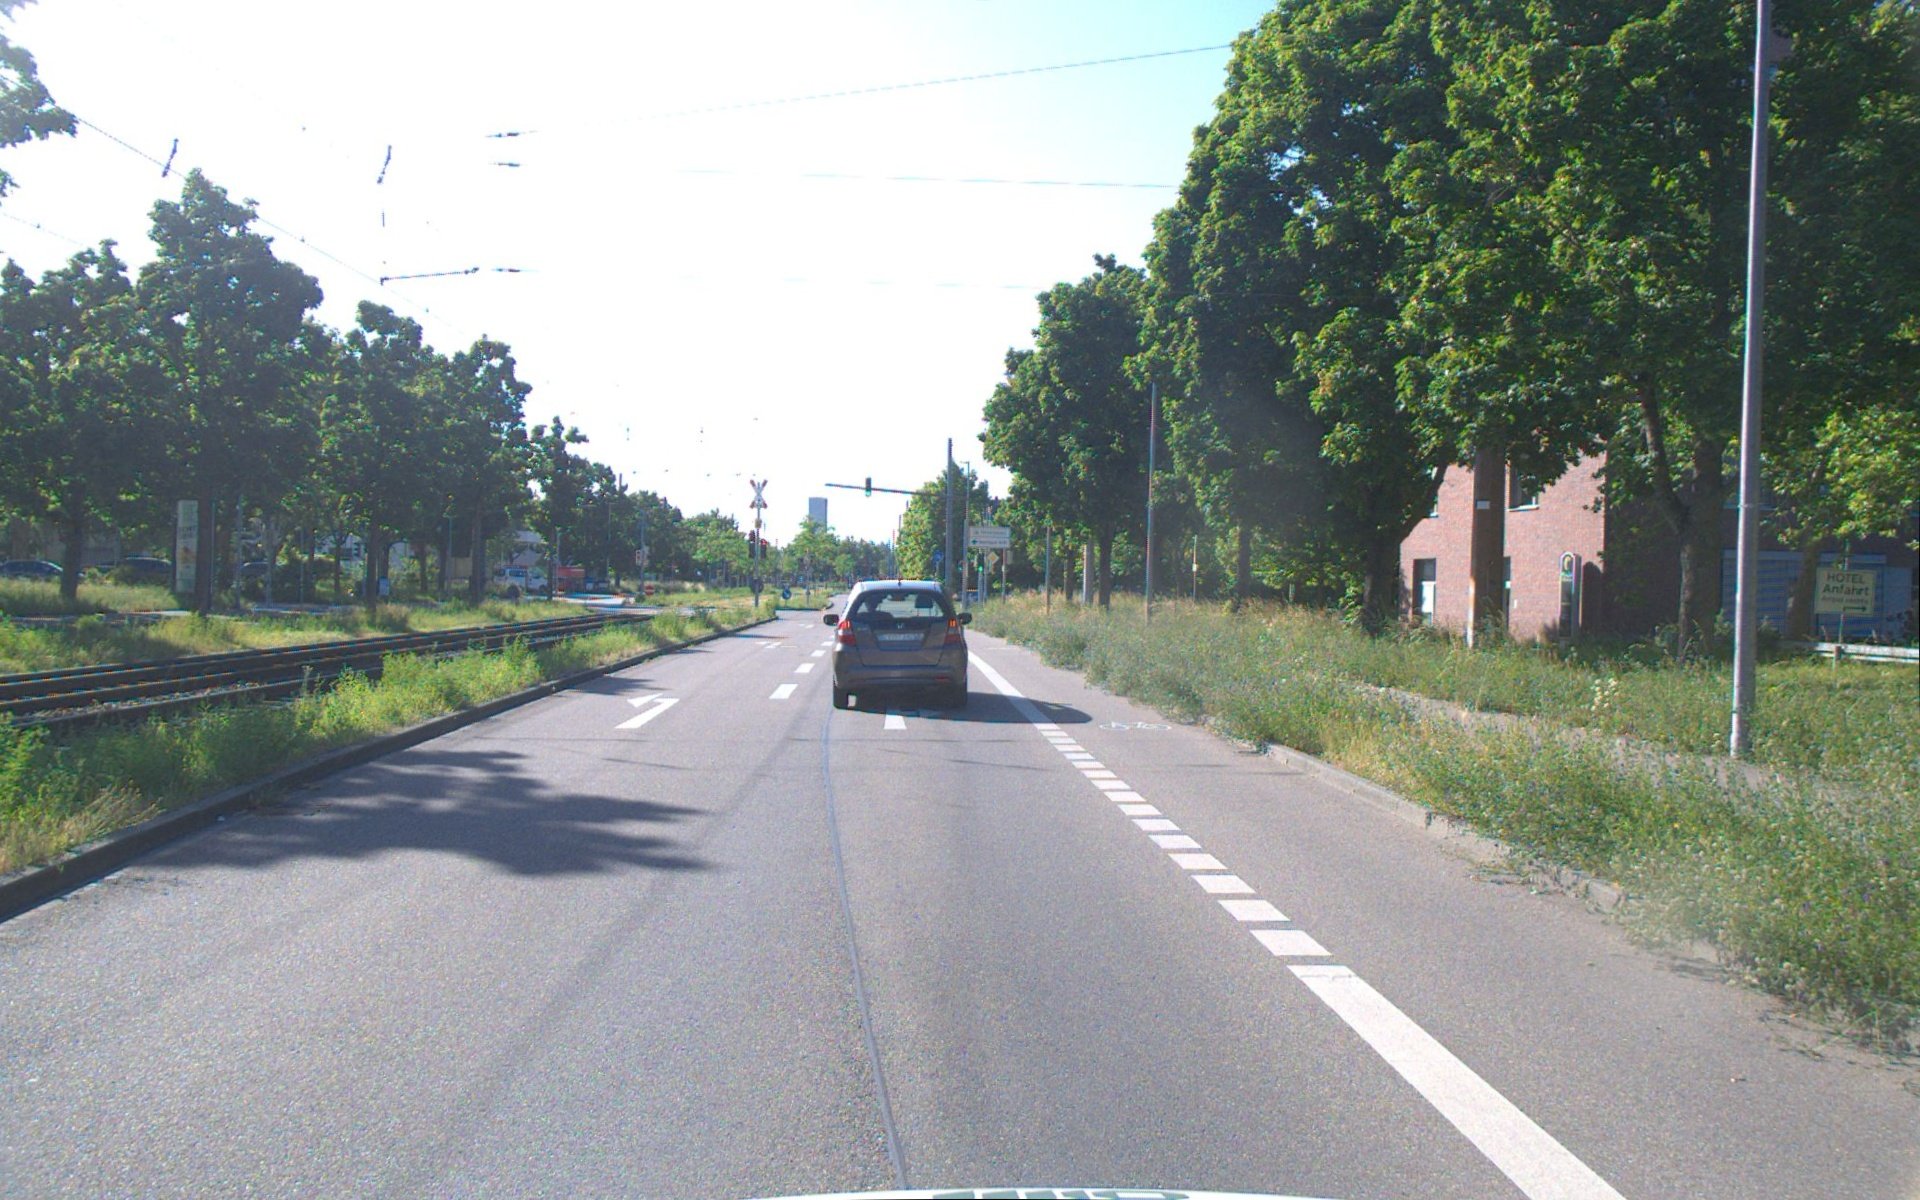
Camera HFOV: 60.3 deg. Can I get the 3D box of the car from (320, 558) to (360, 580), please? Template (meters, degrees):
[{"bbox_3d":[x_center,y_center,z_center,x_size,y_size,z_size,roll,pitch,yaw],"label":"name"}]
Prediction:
[{"bbox_3d":[-47.612,-2.347,127.120,1.545,1.571,4.088,2,0,0],"label":"car"}]

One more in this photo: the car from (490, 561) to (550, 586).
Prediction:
[{"bbox_3d":[-37.254,-2.215,140.138,1.824,2.008,4.767,2,1,36],"label":"car"}]

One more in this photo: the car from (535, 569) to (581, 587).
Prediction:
[{"bbox_3d":[-38.091,-2.089,156.806,3.992,1.596,1.790,1,1,-6],"label":"car"}]

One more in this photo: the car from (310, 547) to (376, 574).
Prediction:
[{"bbox_3d":[-50.130,-3.206,134.425,4.629,2.128,2.019,1,1,-5],"label":"car"}]

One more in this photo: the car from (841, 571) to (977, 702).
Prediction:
[{"bbox_3d":[-0.715,0.415,21.095,1.592,1.526,3.454,0,0,-4],"label":"car"}]

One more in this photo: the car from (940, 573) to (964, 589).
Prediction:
[{"bbox_3d":[-0.773,-1.750,151.890,1.740,1.411,3.864,0,1,-7],"label":"car"}]
